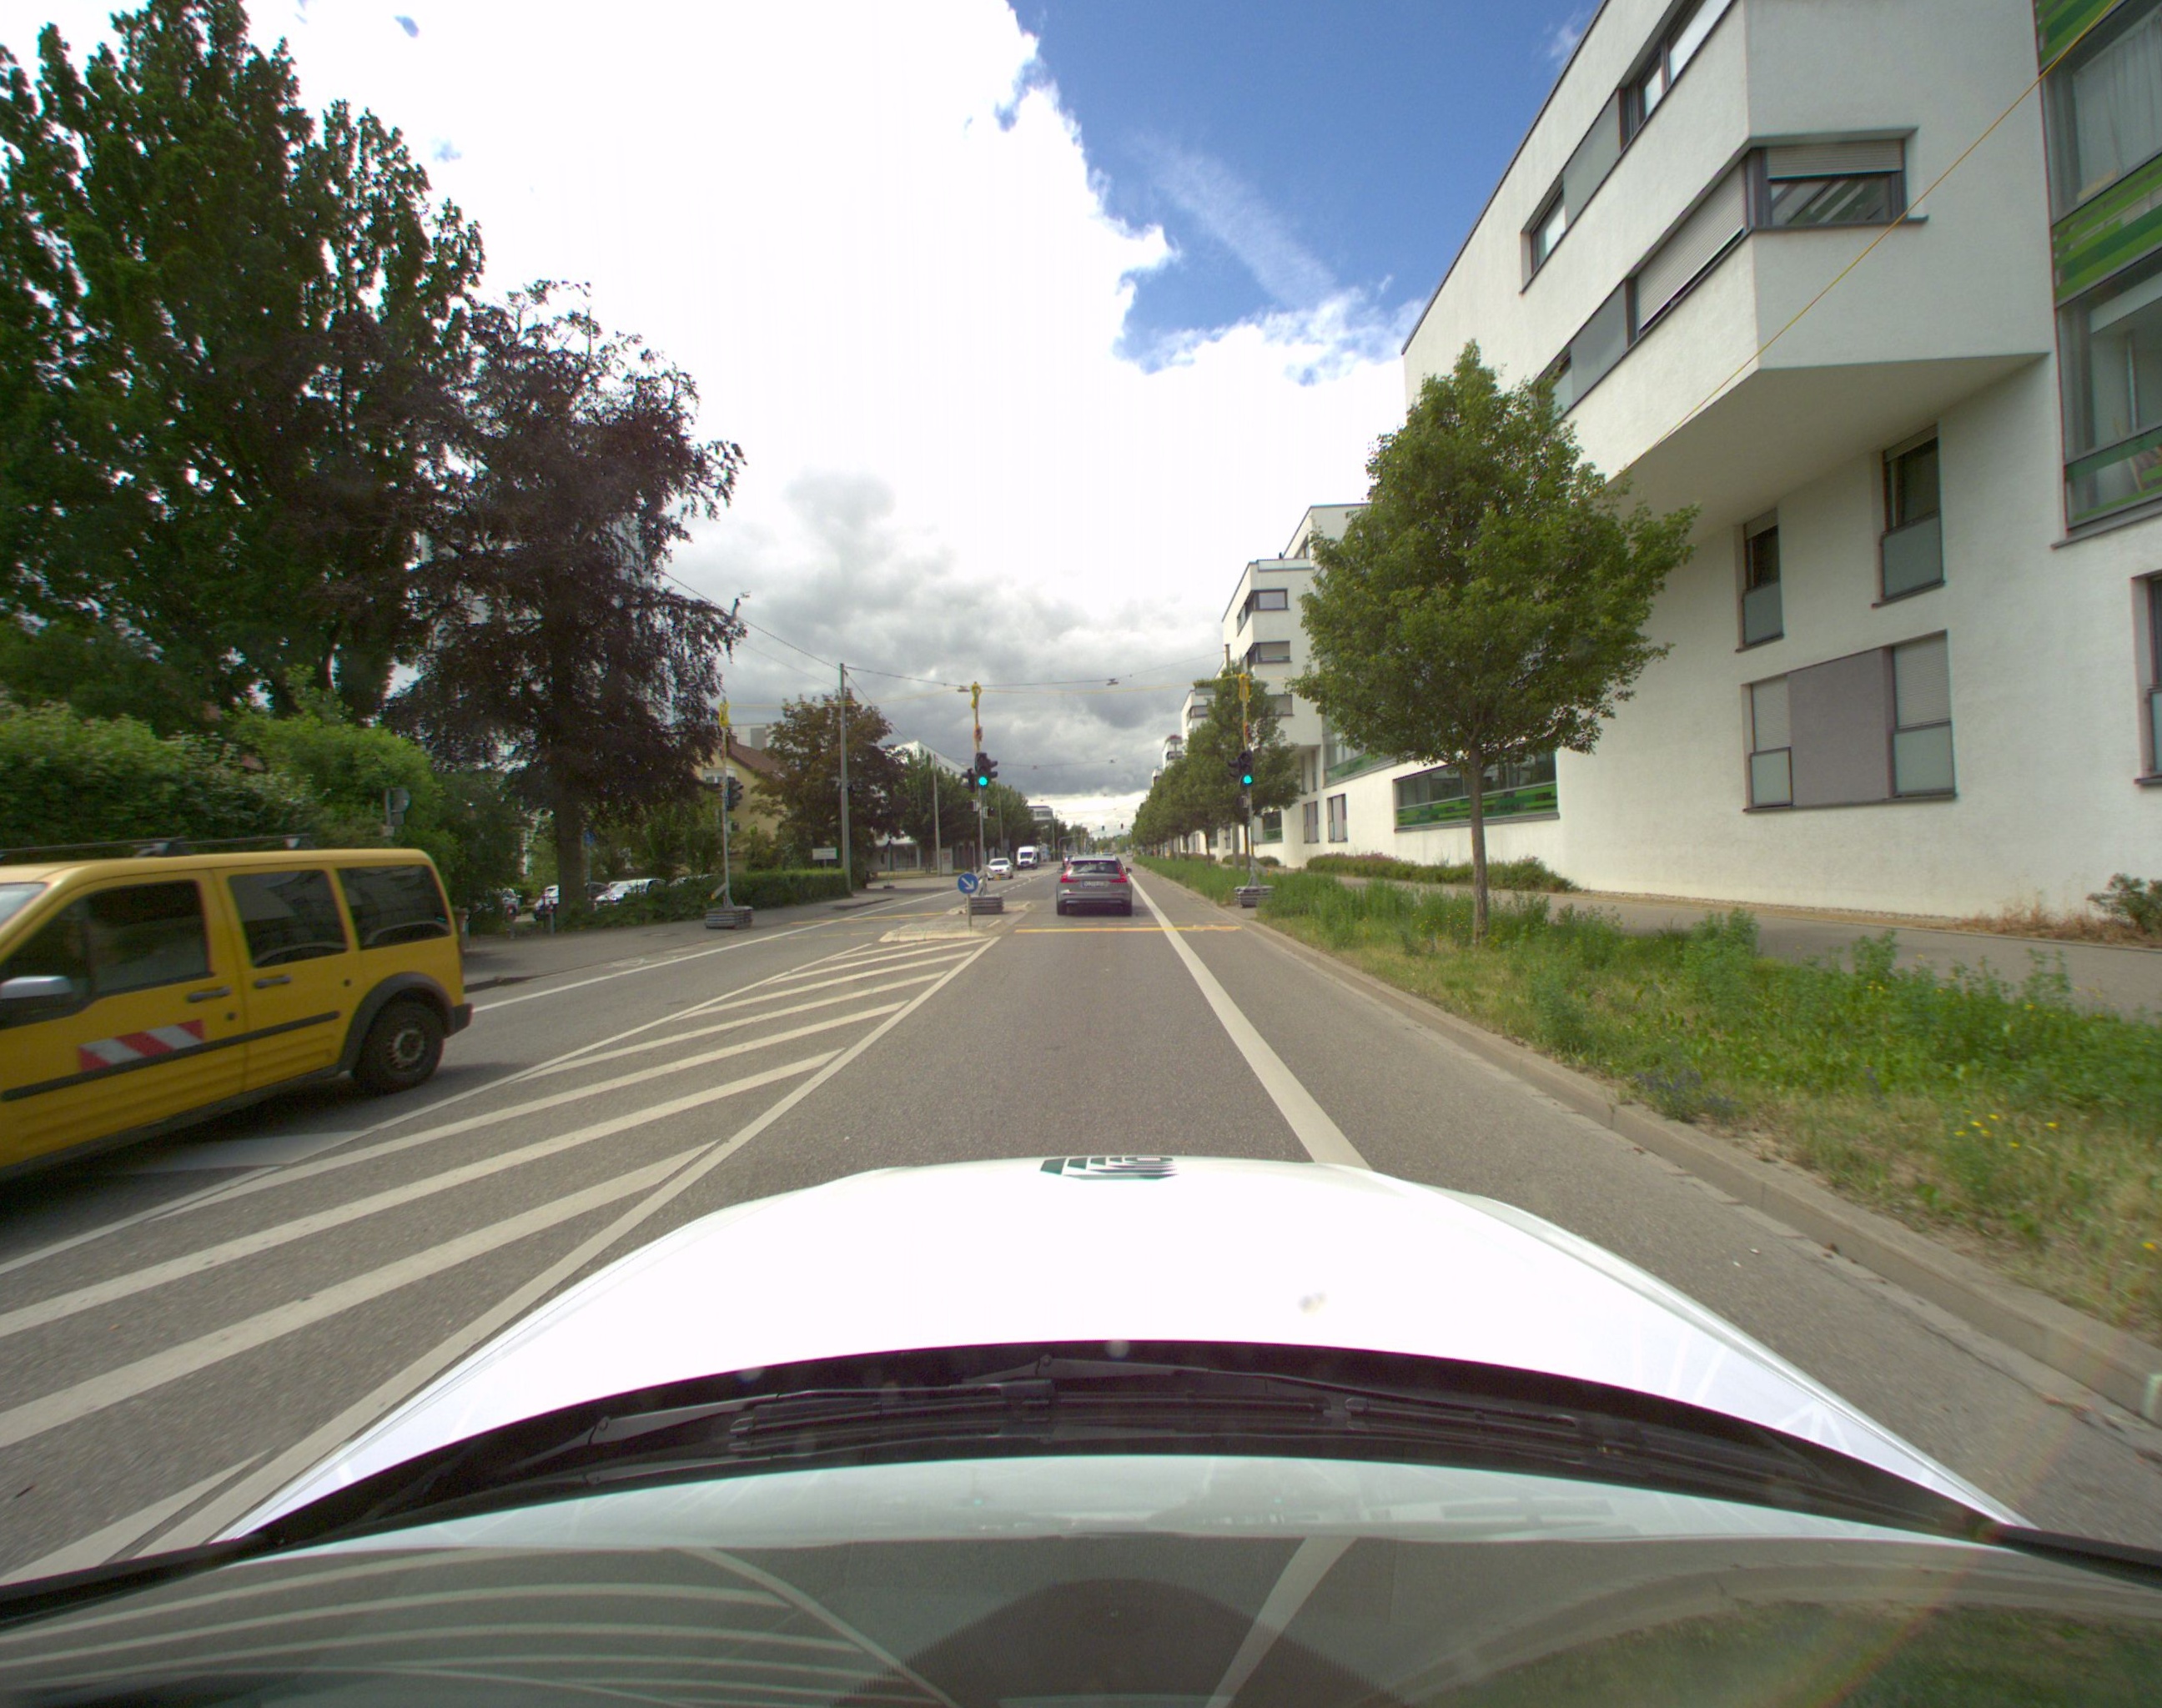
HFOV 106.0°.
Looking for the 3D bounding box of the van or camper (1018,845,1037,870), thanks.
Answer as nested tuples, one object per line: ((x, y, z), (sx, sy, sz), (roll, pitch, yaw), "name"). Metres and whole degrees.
((-6.266, 0.385, 96.149), (1.989, 2.734, 6.047), (-4, 0, -2), "van or camper")

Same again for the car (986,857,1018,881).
((-5.451, 0.994, 56.843), (1.655, 1.515, 4.002), (-3, 0, 2), "car")

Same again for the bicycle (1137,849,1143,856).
((12.483, -0.287, 171.475), (1.063, 1.453, 2.978), (-4, 0, 1), "bicycle")

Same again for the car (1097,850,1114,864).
((2.852, 0.368, 94.032), (1.838, 1.513, 4.001), (-2, 0, 1), "car")

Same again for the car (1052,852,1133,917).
((0.393, 0.716, 21.120), (1.846, 1.513, 4.005), (-1, 0, 4), "car")

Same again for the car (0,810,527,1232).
((-5.807, 0.801, 4.668), (1.834, 1.904, 4.687), (-3, 0, 2), "car")

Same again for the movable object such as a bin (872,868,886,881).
((-16.333, 1.664, 65.813), (0.742, 0.941, 1.001), (-4, 0, 9), "movable object such as a bin")

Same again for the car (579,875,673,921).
((-17.771, 1.682, 31.985), (1.656, 1.515, 3.436), (-3, 0, 0), "car")

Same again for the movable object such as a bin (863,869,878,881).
((-17.088, 1.715, 66.077), (0.742, 0.941, 1.001), (-4, 0, 9), "movable object such as a bin")

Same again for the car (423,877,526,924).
((-25.133, 1.897, 33.891), (1.656, 1.663, 3.436), (-3, 0, 0), "car")

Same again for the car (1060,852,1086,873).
((-0.583, 0.623, 63.596), (1.848, 1.513, 4.001), (-2, 0, 1), "car")
